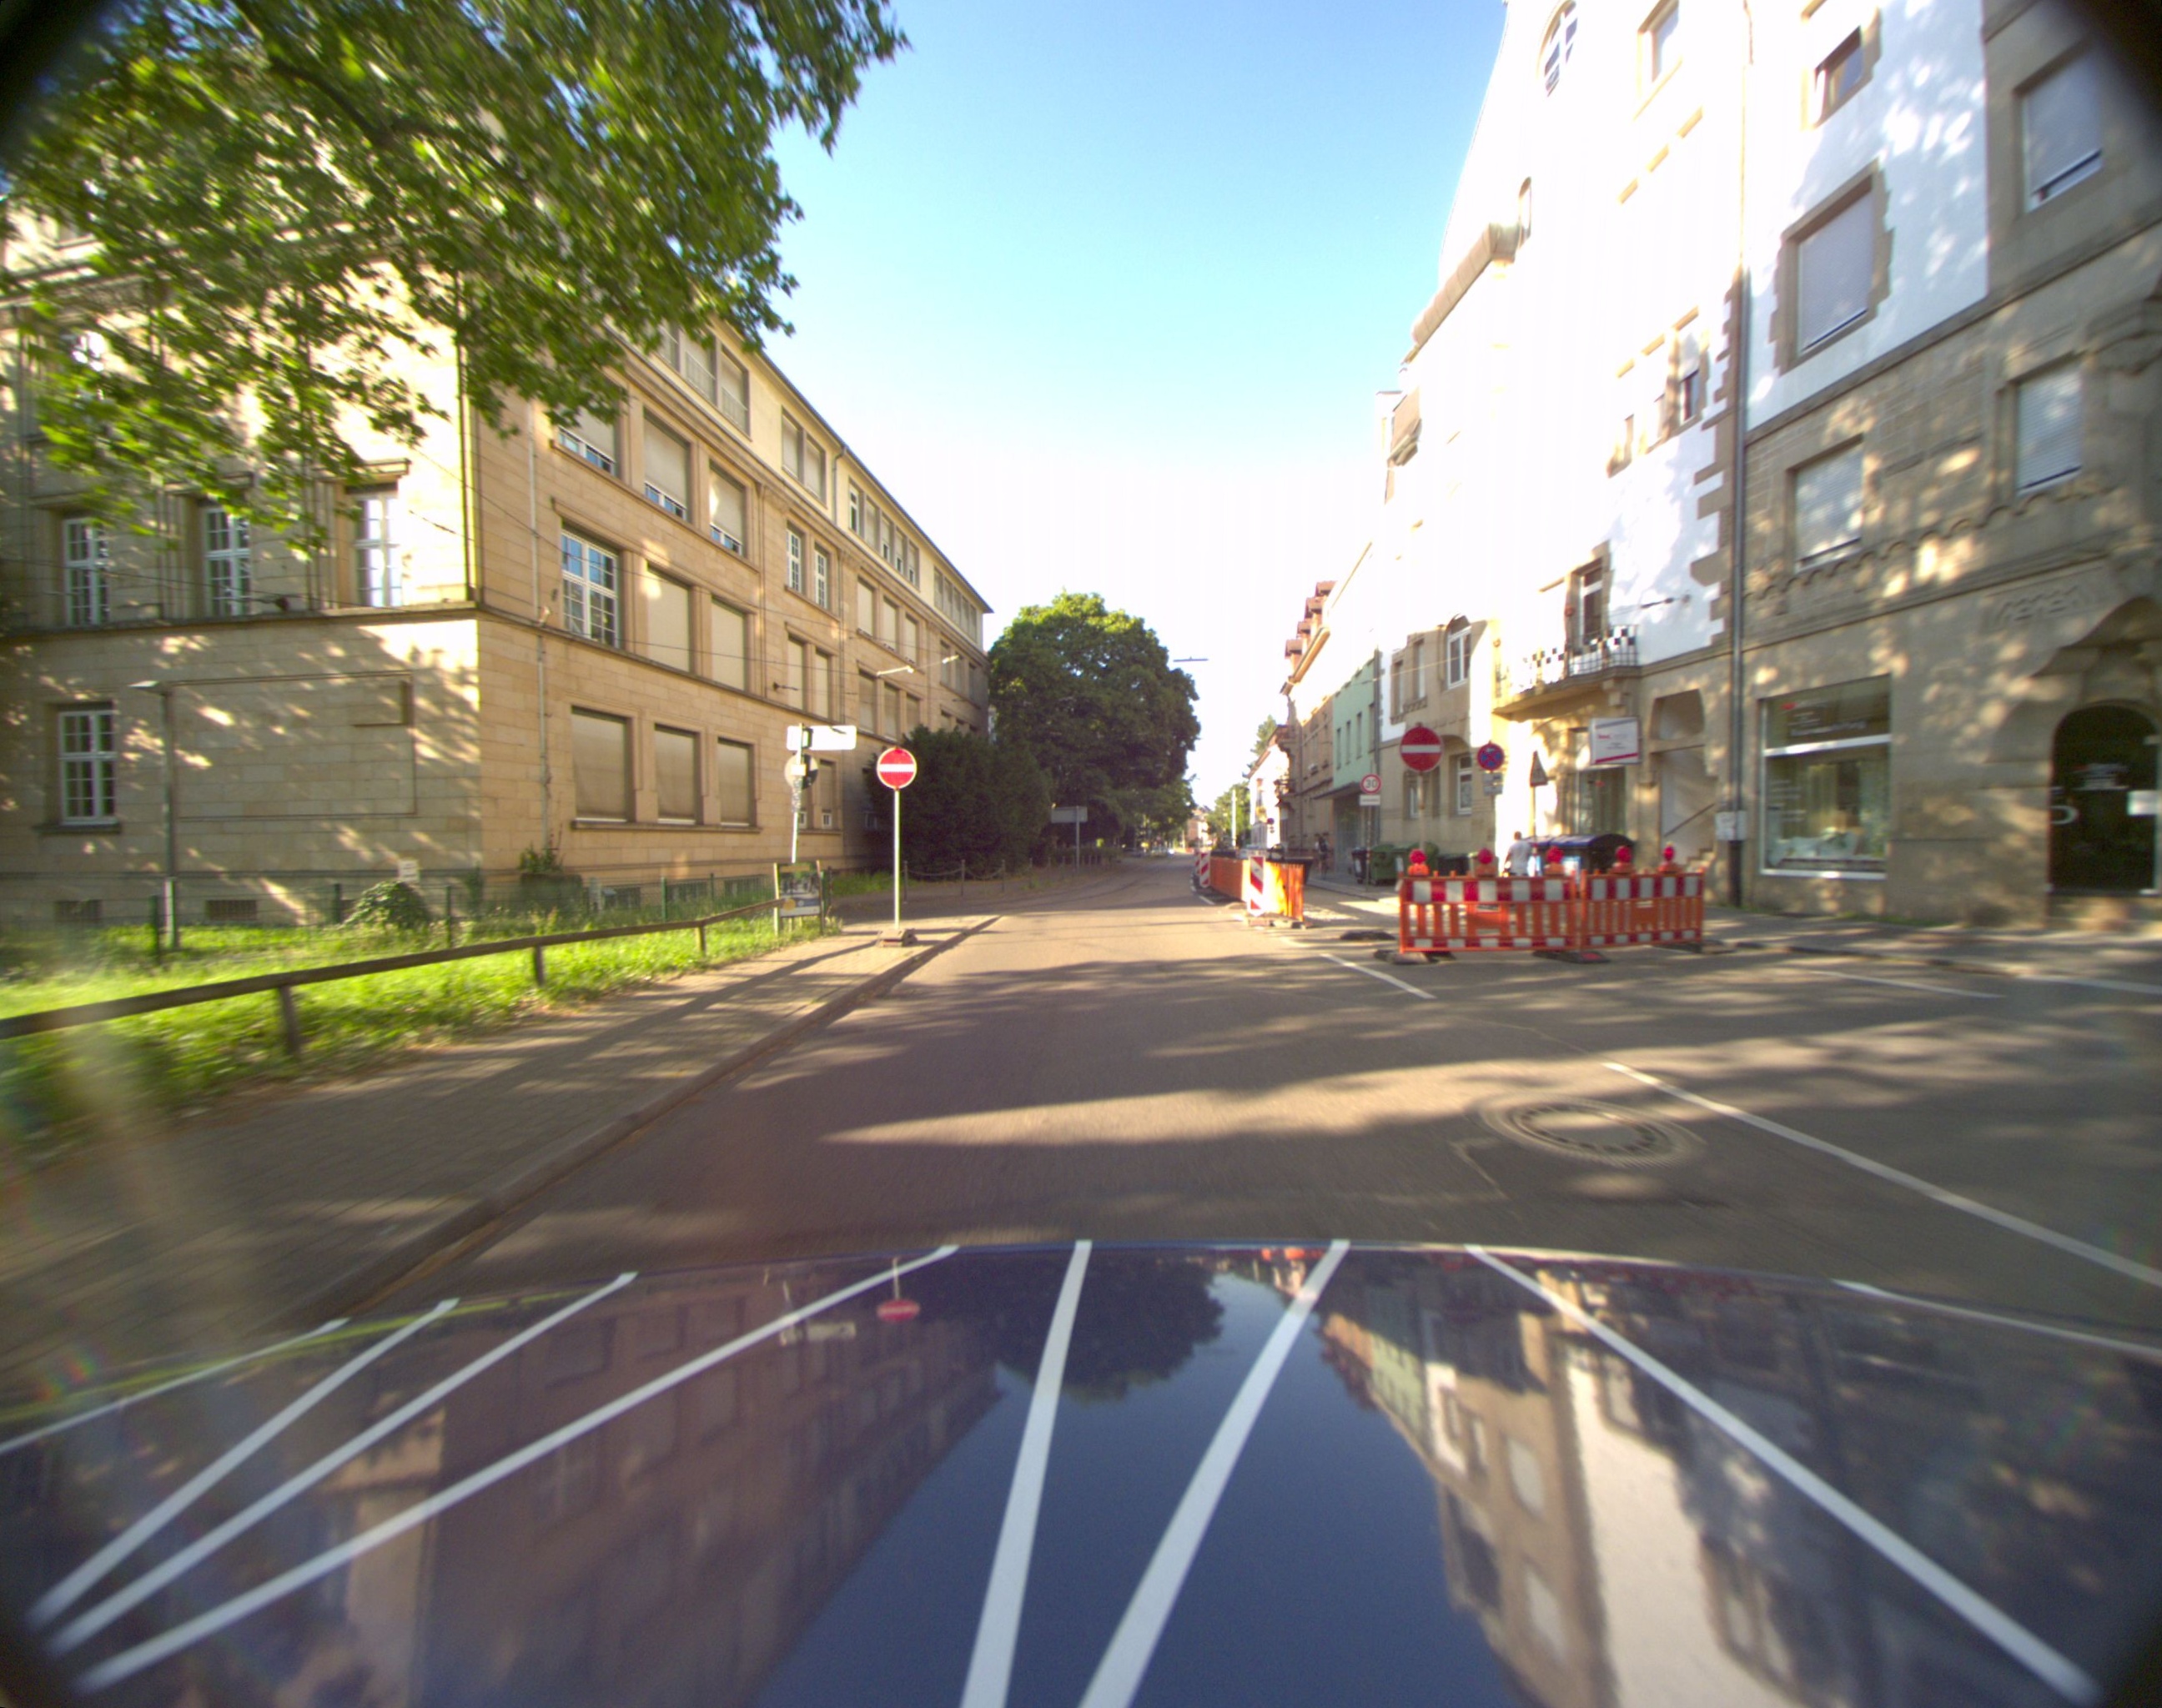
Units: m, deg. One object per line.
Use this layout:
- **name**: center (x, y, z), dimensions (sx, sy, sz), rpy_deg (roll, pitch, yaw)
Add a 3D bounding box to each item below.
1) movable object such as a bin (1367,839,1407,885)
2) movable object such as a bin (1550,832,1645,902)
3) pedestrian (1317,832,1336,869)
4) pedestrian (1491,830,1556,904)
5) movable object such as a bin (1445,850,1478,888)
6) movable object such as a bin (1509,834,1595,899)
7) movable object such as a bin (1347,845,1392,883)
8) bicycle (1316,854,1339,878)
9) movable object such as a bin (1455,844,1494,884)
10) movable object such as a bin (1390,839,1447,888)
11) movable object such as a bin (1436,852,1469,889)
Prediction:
- **movable object such as a bin**: center (10.350, 0.259, 25.753), dimensions (1.084, 1.423, 1.408), rpy_deg (-2, 2, 15)
- **movable object such as a bin**: center (11.266, 0.255, 16.632), dimensions (1.085, 1.423, 1.344), rpy_deg (-3, 2, -6)
- **pedestrian**: center (10.538, -0.145, 32.577), dimensions (0.599, 1.547, 0.616), rpy_deg (-3, 2, 4)
- **pedestrian**: center (9.946, 0.276, 17.105), dimensions (0.823, 1.594, 0.916), rpy_deg (-3, 2, -9)
- **movable object such as a bin**: center (10.797, 0.411, 21.568), dimensions (0.638, 1.018, 0.556), rpy_deg (-3, 2, -1)
- **movable object such as a bin**: center (11.160, 0.266, 18.060), dimensions (1.085, 1.423, 1.406), rpy_deg (-3, 2, -6)
- **movable object such as a bin**: center (10.376, 0.346, 27.385), dimensions (1.085, 1.257, 1.334), rpy_deg (-3, 2, 1)
- **bicycle**: center (10.561, 0.507, 32.577), dimensions (0.601, 0.927, 1.473), rpy_deg (-3, 2, 4)
- **movable object such as a bin**: center (10.796, 0.266, 20.877), dimensions (0.638, 1.035, 0.764), rpy_deg (-3, 2, -1)
- **movable object such as a bin**: center (10.504, 0.277, 23.690), dimensions (1.085, 1.423, 1.407), rpy_deg (-3, 2, -1)
- **movable object such as a bin**: center (10.809, 0.467, 22.134), dimensions (0.638, 1.035, 0.588), rpy_deg (-3, 2, -1)
